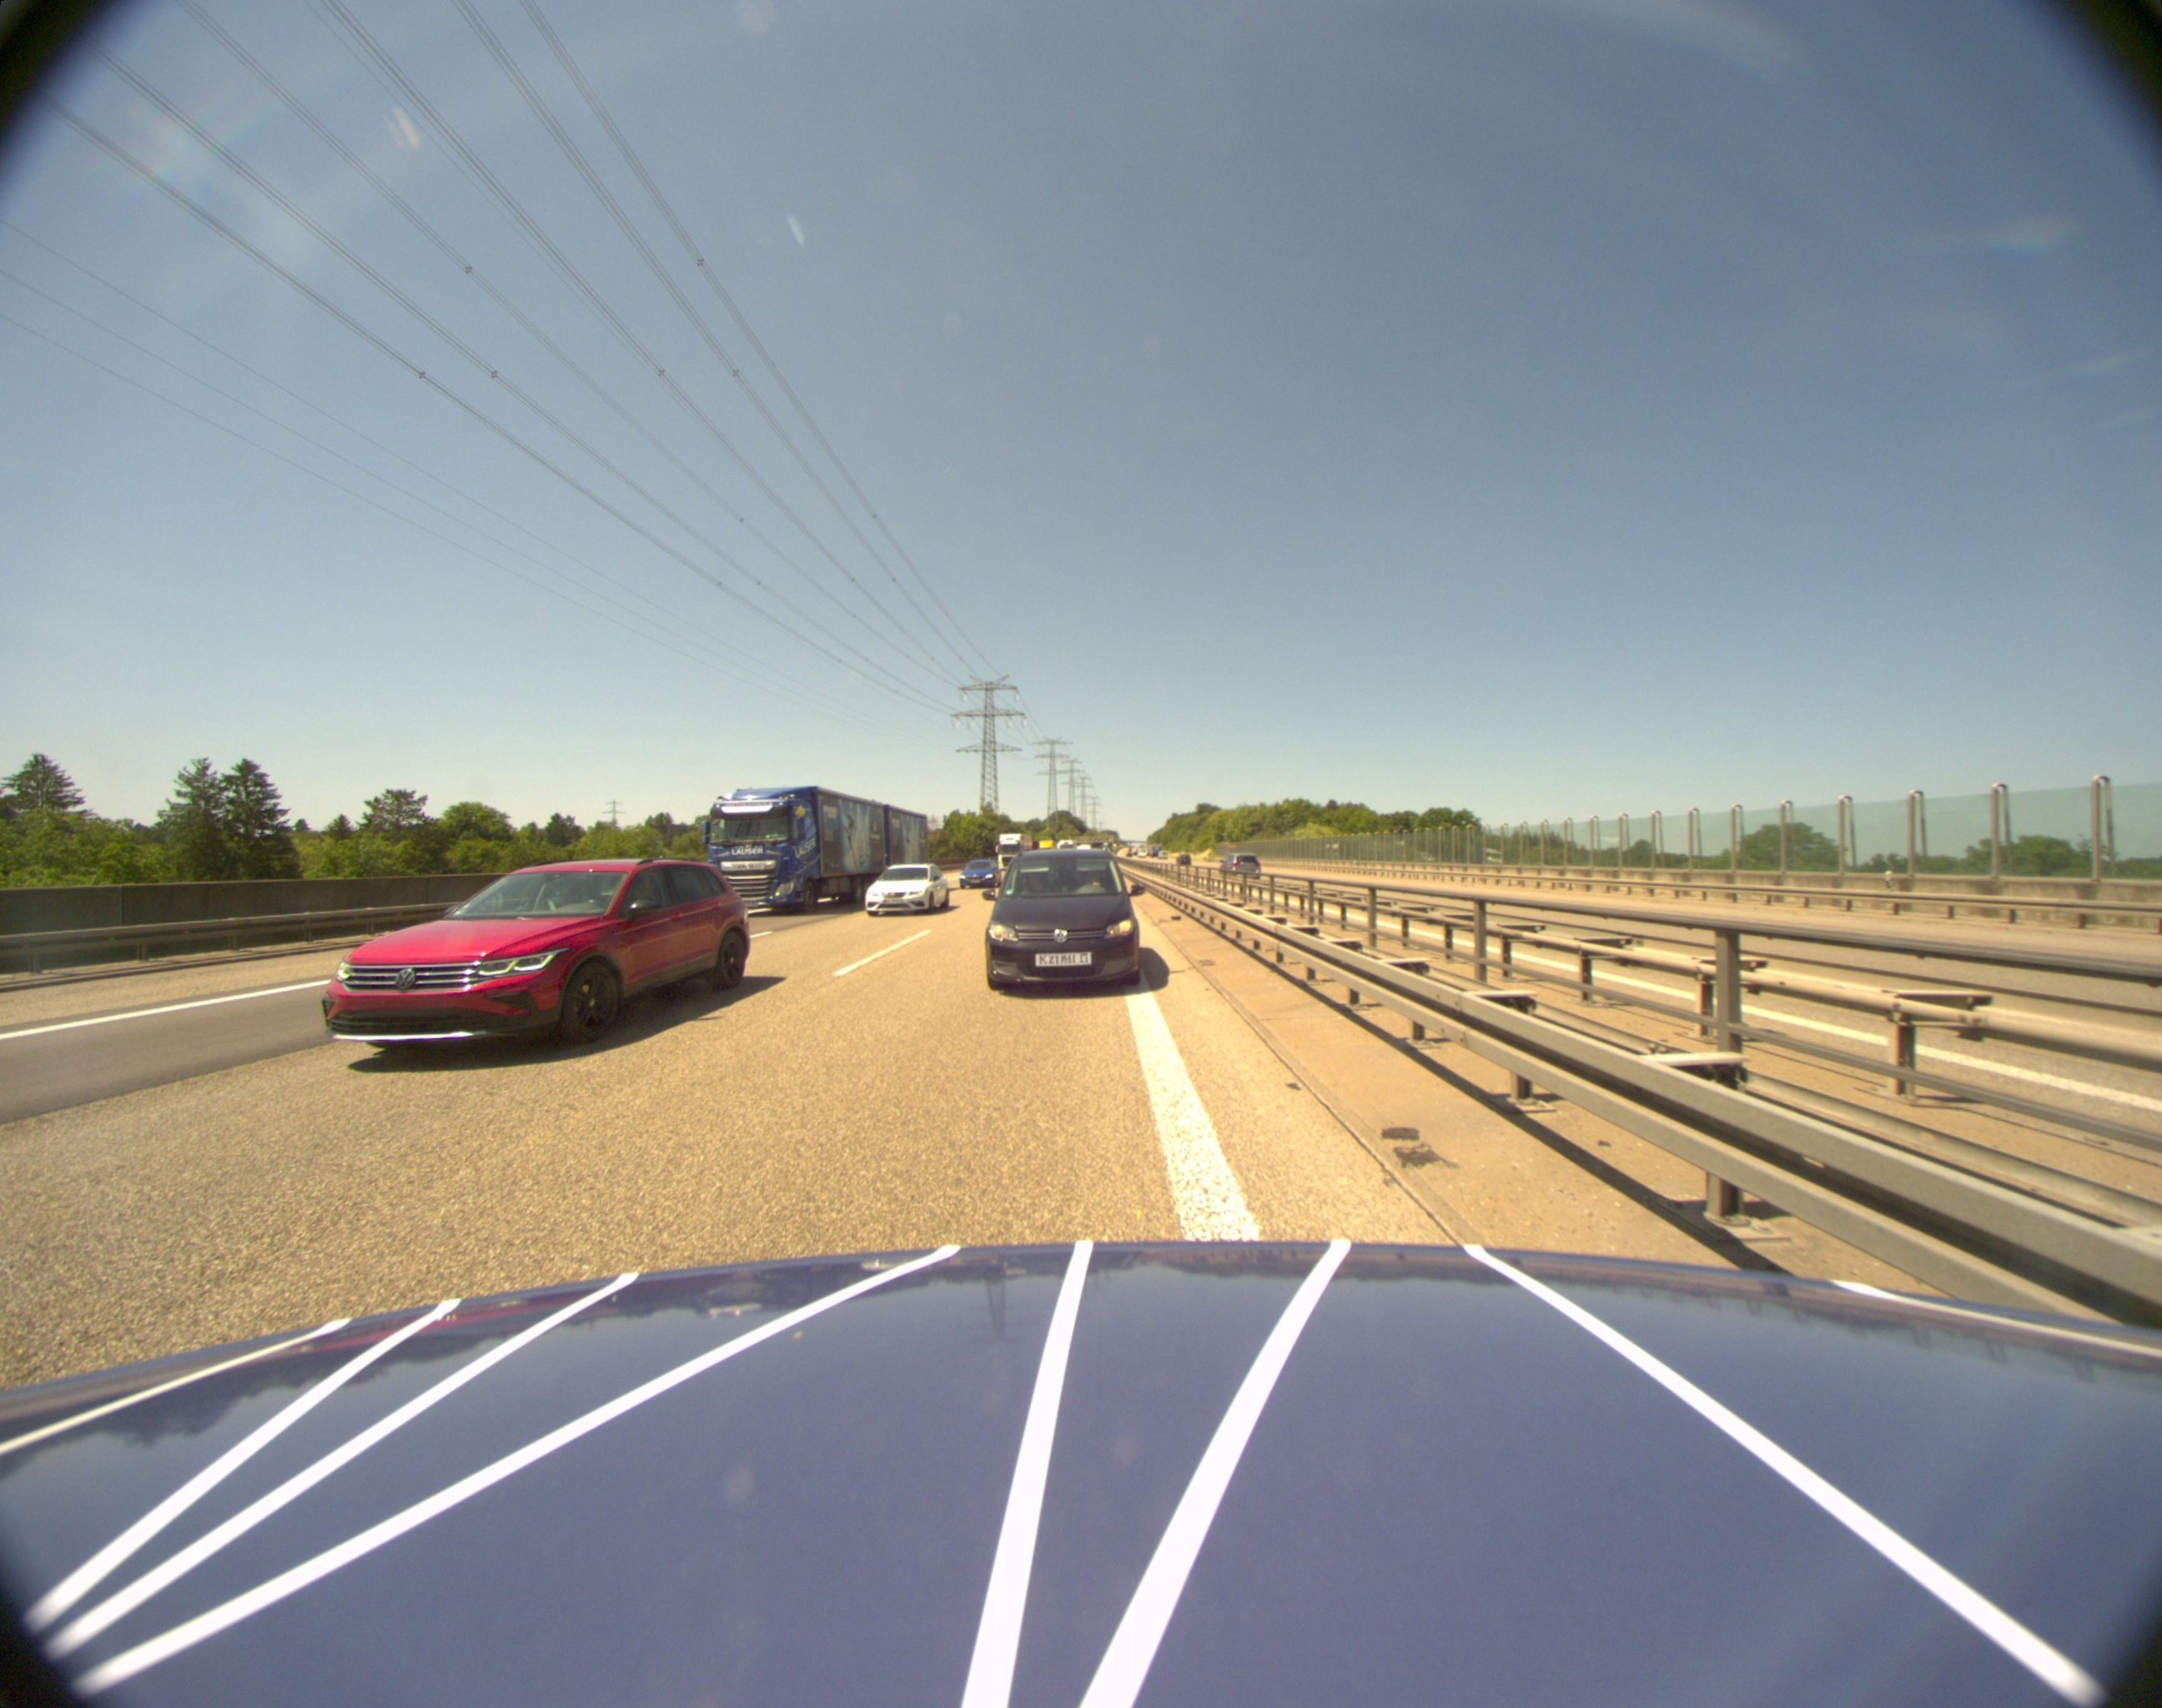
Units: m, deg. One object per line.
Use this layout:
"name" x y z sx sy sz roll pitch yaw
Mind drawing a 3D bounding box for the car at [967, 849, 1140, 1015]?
"car" -0.270 0.802 9.867 1.740 1.652 3.999 -2 1 0

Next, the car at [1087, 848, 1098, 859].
"car" 2.129 -0.127 145.467 1.998 2.002 4.000 -2 1 1

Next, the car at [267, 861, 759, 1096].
"car" -5.107 0.944 7.753 1.779 1.652 4.224 -1 0 0

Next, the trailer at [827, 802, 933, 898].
"trailer" -9.255 -0.175 36.098 2.572 3.921 8.479 -2 0 1

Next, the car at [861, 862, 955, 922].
"car" -4.992 1.052 22.444 1.843 1.481 4.071 -2 0 -1

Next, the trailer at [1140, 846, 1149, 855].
"trailer" 18.103 -1.005 216.874 2.322 2.690 6.361 1 0 1

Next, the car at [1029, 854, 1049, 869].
"car" -4.234 0.730 77.022 1.763 1.495 4.094 -1 1 0

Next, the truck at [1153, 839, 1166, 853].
"truck" 22.737 -2.378 221.416 2.876 4.062 9.989 2 1 2

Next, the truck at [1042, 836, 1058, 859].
"truck" -5.840 -1.264 145.284 2.346 4.058 8.278 -2 1 1

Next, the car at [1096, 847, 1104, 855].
"car" 5.025 -0.910 198.090 1.998 2.002 4.000 -2 1 1

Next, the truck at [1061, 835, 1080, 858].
"truck" -1.809 -1.326 136.869 2.980 3.832 10.561 -2 1 1

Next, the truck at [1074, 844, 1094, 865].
"truck" 0.437 0.042 94.782 2.284 2.479 5.861 -2 1 1

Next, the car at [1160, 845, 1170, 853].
"car" 21.006 -1.267 190.233 2.039 1.972 4.489 2 0 1

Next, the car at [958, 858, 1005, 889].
"car" -5.179 0.986 39.992 1.739 1.437 4.210 -1 0 2

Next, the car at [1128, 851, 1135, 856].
"car" 14.718 -0.249 220.284 1.772 1.411 4.266 0 0 1

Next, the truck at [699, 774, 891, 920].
"truck" -9.336 -0.241 26.605 2.529 4.043 10.446 -2 1 1

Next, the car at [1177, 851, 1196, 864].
"car" 14.446 0.434 104.384 1.999 1.662 4.186 1 0 0

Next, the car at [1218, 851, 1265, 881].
"car" 9.424 0.644 44.815 1.810 1.618 4.477 -2 0 0

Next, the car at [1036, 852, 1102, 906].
"car" -0.320 0.719 23.765 1.845 1.495 4.377 -1 0 1

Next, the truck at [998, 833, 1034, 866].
"truck" -7.422 -0.563 88.324 2.985 3.538 10.967 -2 1 1
